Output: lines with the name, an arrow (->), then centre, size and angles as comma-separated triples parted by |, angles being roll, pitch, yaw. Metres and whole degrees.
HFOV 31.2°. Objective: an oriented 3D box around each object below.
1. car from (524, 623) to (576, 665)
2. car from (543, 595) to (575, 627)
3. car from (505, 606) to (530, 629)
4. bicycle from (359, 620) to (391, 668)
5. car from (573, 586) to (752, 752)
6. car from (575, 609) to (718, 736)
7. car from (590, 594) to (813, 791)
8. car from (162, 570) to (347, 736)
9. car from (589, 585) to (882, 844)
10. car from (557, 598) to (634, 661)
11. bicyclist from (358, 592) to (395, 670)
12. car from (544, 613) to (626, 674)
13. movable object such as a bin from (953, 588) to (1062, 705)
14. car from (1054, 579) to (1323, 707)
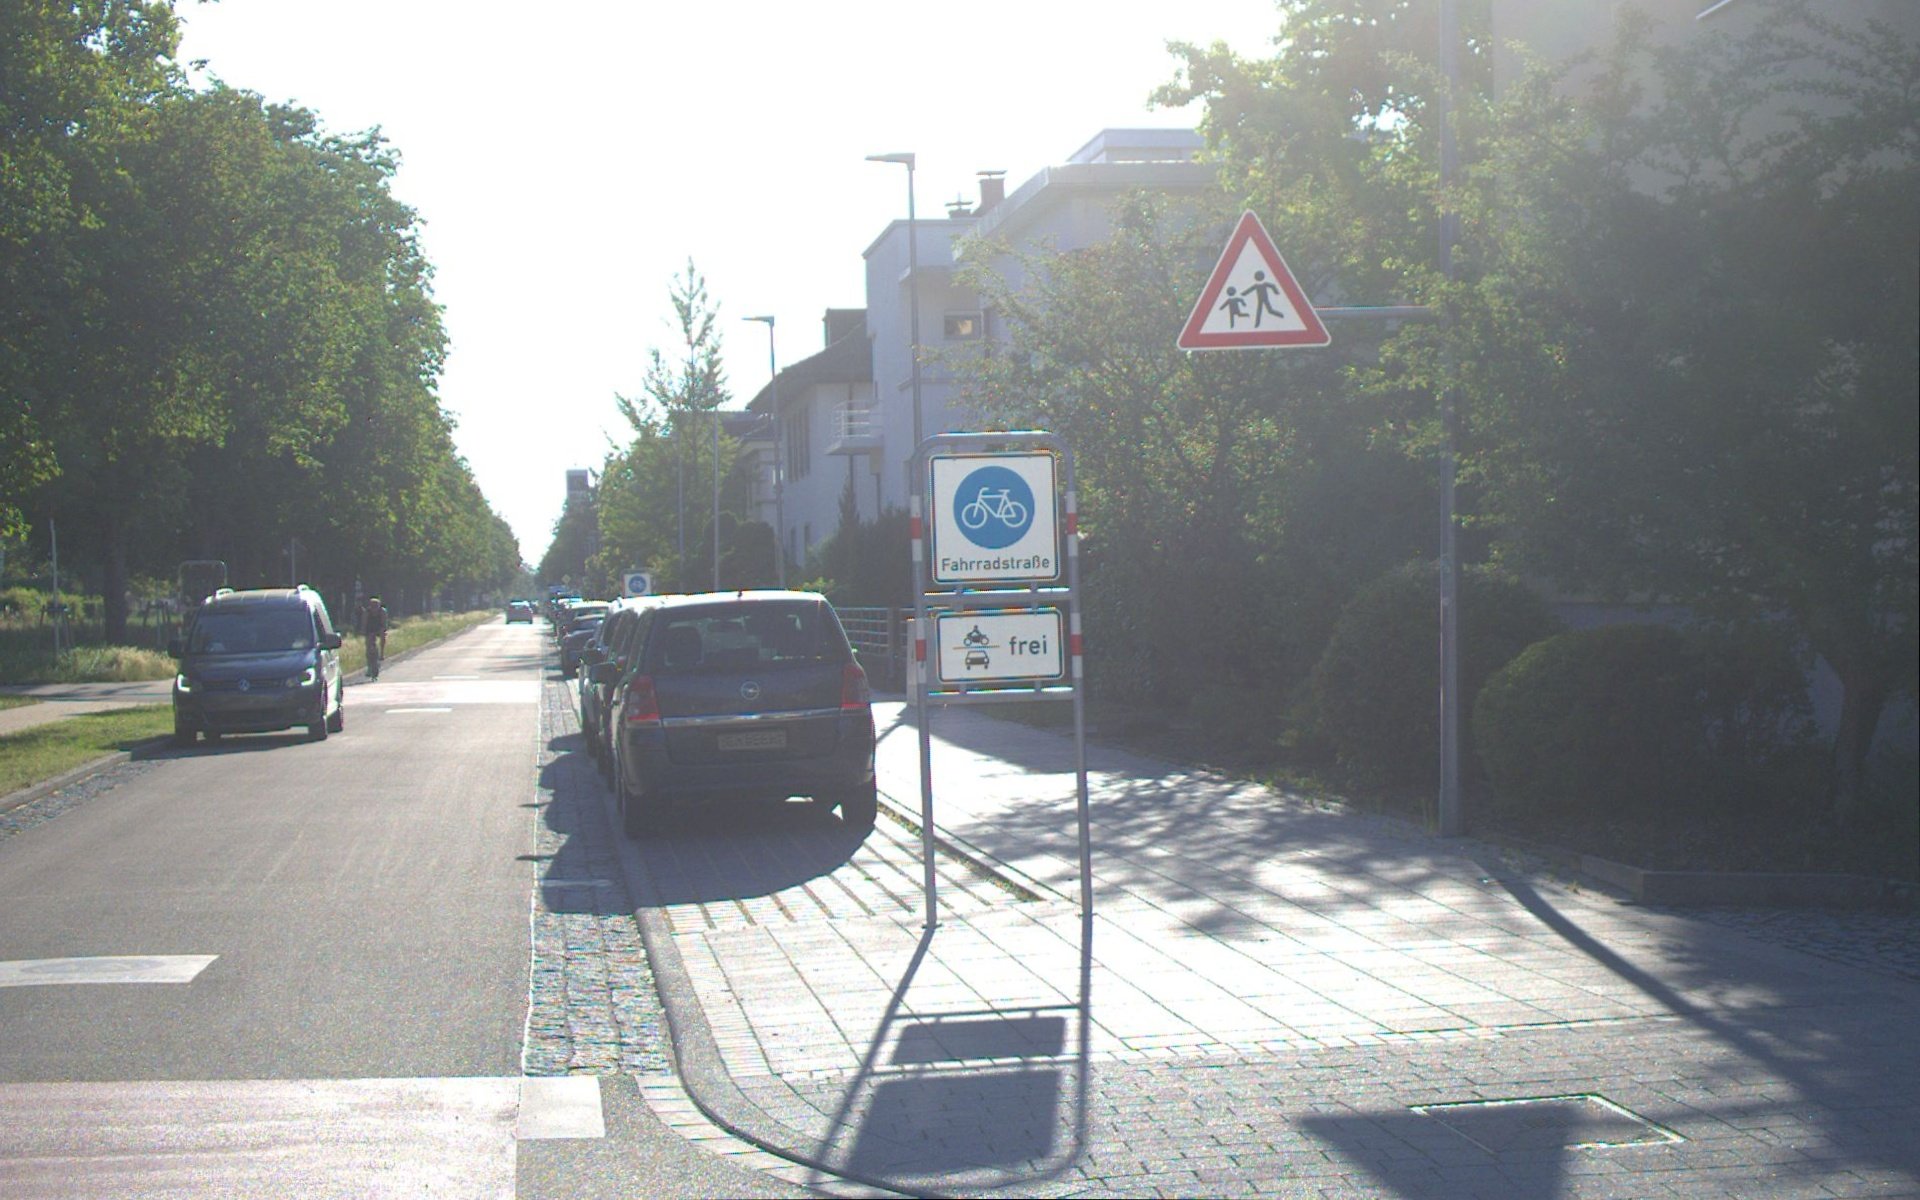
car -> -14.965, 1.605, 125.314 | 1.736, 1.444, 4.198 | -3, 0, -8
car -> -20.352, 0.545, 174.556 | 1.498, 1.561, 3.267 | -1, 0, -6
car -> -30.139, 1.171, 233.974 | 1.651, 1.536, 3.267 | 0, 0, -7
bicycle -> -12.675, 0.953, 74.515 | 0.556, 1.028, 1.915 | -2, 0, -7
car -> -3.121, 0.675, 35.735 | 1.678, 1.550, 4.131 | -2, 0, -6
car -> -3.837, 0.835, 41.627 | 1.563, 1.385, 4.375 | -2, 0, -7
car -> -2.348, 0.759, 30.368 | 1.678, 1.550, 4.145 | -2, 0, -7
car -> -8.533, 0.630, 41.876 | 1.843, 1.841, 4.574 | -2, 0, -8
car -> -1.690, 0.744, 24.630 | 1.710, 1.605, 4.169 | -3, 1, -8
car -> -9.469, 0.747, 89.137 | 1.744, 1.469, 3.923 | -4, 0, -8
bicyclist -> -12.653, 0.677, 74.550 | 0.681, 1.667, 1.173 | -2, -1, -7
car -> -8.506, 0.971, 77.829 | 1.774, 1.284, 4.273 | 0, 0, -7
movable object such as a bin -> 0.582, 0.572, 42.742 | 1.237, 1.427, 1.123 | -1, 0, -5
car -> 3.025, 0.564, 46.010 | 3.493, 1.636, 1.643 | -1, 0, 1
